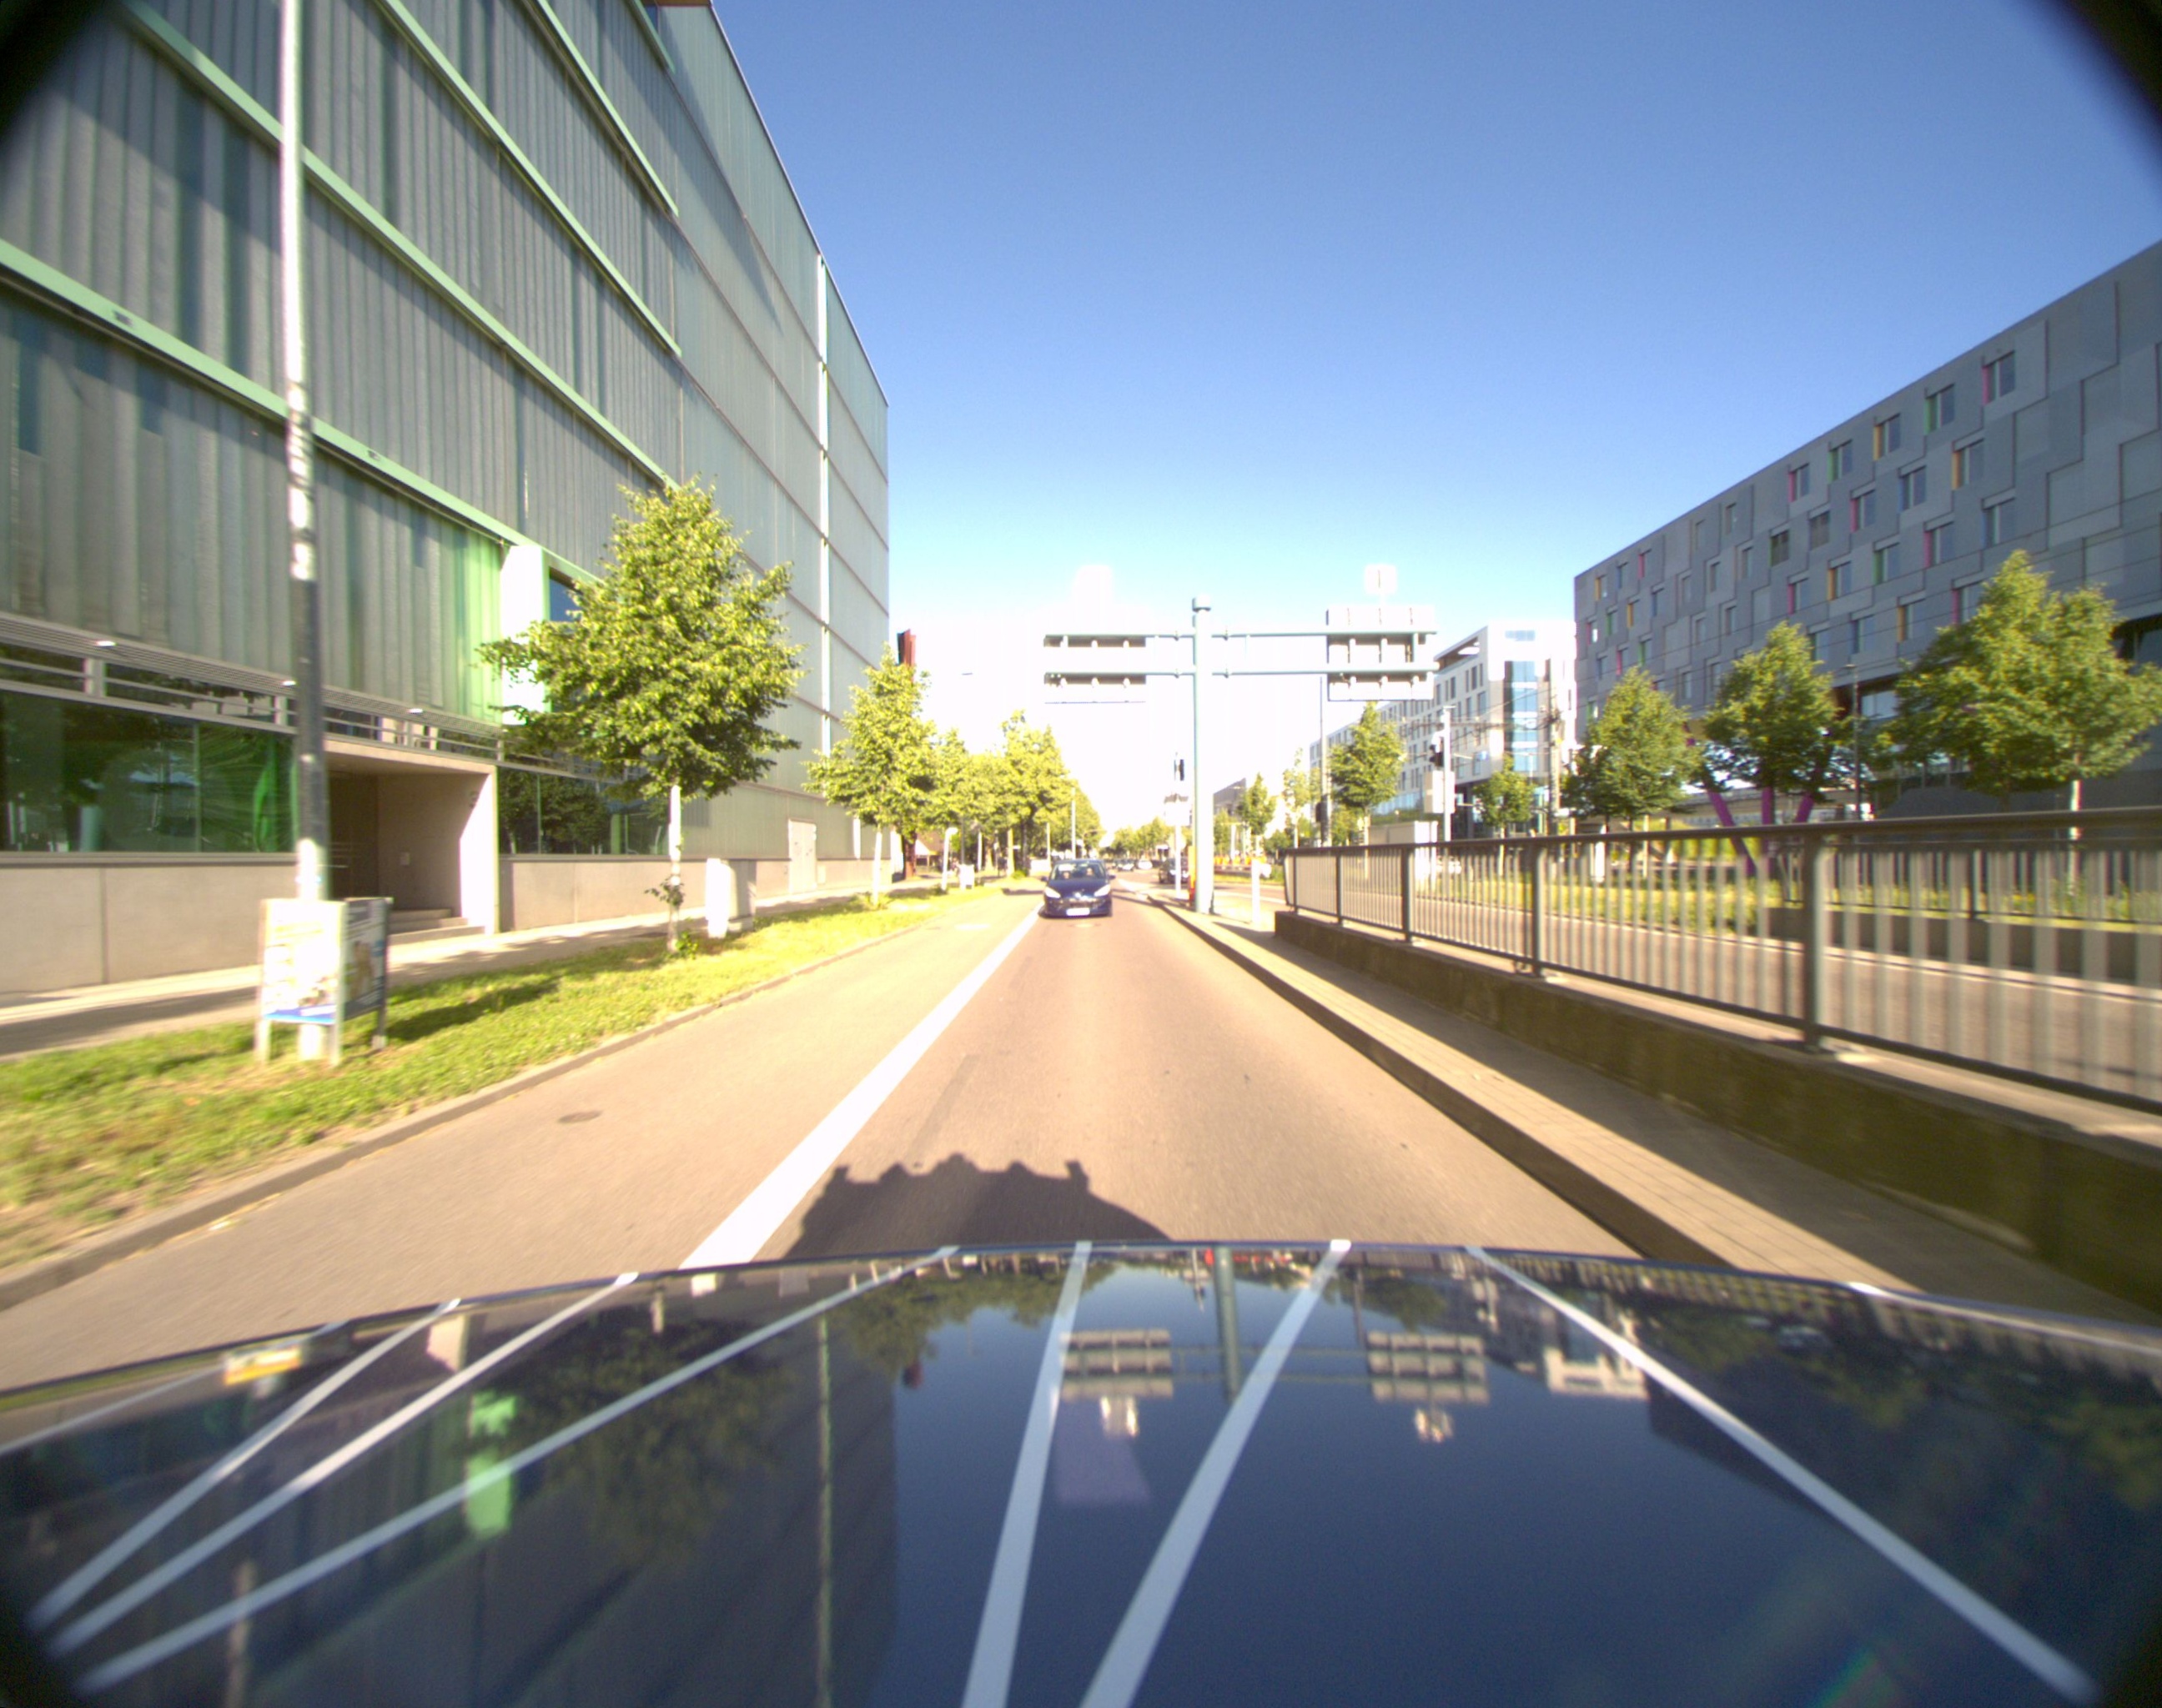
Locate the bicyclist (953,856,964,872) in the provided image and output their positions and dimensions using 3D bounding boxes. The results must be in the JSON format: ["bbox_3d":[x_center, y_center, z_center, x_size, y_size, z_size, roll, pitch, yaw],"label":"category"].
[{"bbox_3d":[-12.538,1.012,77.852,0.876,1.644,0.794,0,0,13],"label":"bicyclist"}]

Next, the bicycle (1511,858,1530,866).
[{"bbox_3d":[50.347,0.881,87.044,1.829,0.858,0.749,-1,0,3],"label":"bicycle"}]

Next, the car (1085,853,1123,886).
[{"bbox_3d":[1.238,0.756,39.195,1.802,1.518,4.606,-2,0,3],"label":"car"}]

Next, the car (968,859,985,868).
[{"bbox_3d":[-18.122,1.583,131.925,1.898,1.477,4.916,-2,0,6],"label":"car"}]

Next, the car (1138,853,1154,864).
[{"bbox_3d":[9.190,0.653,107.448,1.676,1.418,4.005,-3,0,-2],"label":"car"}]

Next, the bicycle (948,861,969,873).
[{"bbox_3d":[-12.558,1.324,77.876,2.100,1.196,0.552,-1,0,16],"label":"bicycle"}]

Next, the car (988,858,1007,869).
[{"bbox_3d":[-11.755,1.352,106.800,1.898,1.456,4.038,-2,0,4],"label":"car"}]

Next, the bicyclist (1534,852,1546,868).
[{"bbox_3d":[43.765,0.575,72.466,0.572,1.427,0.958,-1,0,-2],"label":"bicyclist"}]

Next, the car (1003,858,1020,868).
[{"bbox_3d":[-10.998,1.369,120.609,1.898,1.479,4.348,-2,0,6],"label":"car"}]

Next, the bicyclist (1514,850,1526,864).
[{"bbox_3d":[50.274,0.312,87.045,0.955,1.574,0.751,-1,0,3],"label":"bicyclist"}]

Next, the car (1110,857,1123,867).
[{"bbox_3d":[5.555,1.258,117.861,1.839,1.483,4.006,-2,0,1],"label":"car"}]

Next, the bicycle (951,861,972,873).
[{"bbox_3d":[-12.423,1.321,78.807,2.100,1.196,0.552,-1,0,13],"label":"bicycle"}]

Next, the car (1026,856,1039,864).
[{"bbox_3d":[-8.891,1.108,140.098,1.942,1.372,3.914,-2,0,3],"label":"car"}]

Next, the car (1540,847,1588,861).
[{"bbox_3d":[53.158,0.002,83.709,3.996,1.556,2.001,-1,0,4],"label":"car"}]

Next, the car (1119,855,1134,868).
[{"bbox_3d":[5.549,0.880,92.701,1.675,1.418,4.006,-2,0,2],"label":"car"}]

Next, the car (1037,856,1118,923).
[{"bbox_3d":[0.031,0.866,20.794,1.802,1.518,4.606,-2,0,4],"label":"car"}]

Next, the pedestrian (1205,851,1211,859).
[{"bbox_3d":[23.683,0.103,141.378,1.068,1.458,0.844,-2,0,6],"label":"pedestrian"}]

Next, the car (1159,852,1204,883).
[{"bbox_3d":[5.317,0.682,40.756,1.803,1.518,4.343,-3,0,0],"label":"car"}]

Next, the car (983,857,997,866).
[{"bbox_3d":[-17.427,1.417,145.871,1.998,1.520,4.654,1,0,1],"label":"car"}]

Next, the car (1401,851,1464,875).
[{"bbox_3d":[23.798,0.579,51.668,1.999,1.553,4.871,-1,0,0],"label":"car"}]

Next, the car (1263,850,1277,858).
[{"bbox_3d":[38.352,0.049,154.306,1.803,1.518,4.343,-3,0,0],"label":"car"}]

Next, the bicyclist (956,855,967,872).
[{"bbox_3d":[-12.357,0.962,78.766,0.876,1.727,0.833,0,0,13],"label":"bicyclist"}]
